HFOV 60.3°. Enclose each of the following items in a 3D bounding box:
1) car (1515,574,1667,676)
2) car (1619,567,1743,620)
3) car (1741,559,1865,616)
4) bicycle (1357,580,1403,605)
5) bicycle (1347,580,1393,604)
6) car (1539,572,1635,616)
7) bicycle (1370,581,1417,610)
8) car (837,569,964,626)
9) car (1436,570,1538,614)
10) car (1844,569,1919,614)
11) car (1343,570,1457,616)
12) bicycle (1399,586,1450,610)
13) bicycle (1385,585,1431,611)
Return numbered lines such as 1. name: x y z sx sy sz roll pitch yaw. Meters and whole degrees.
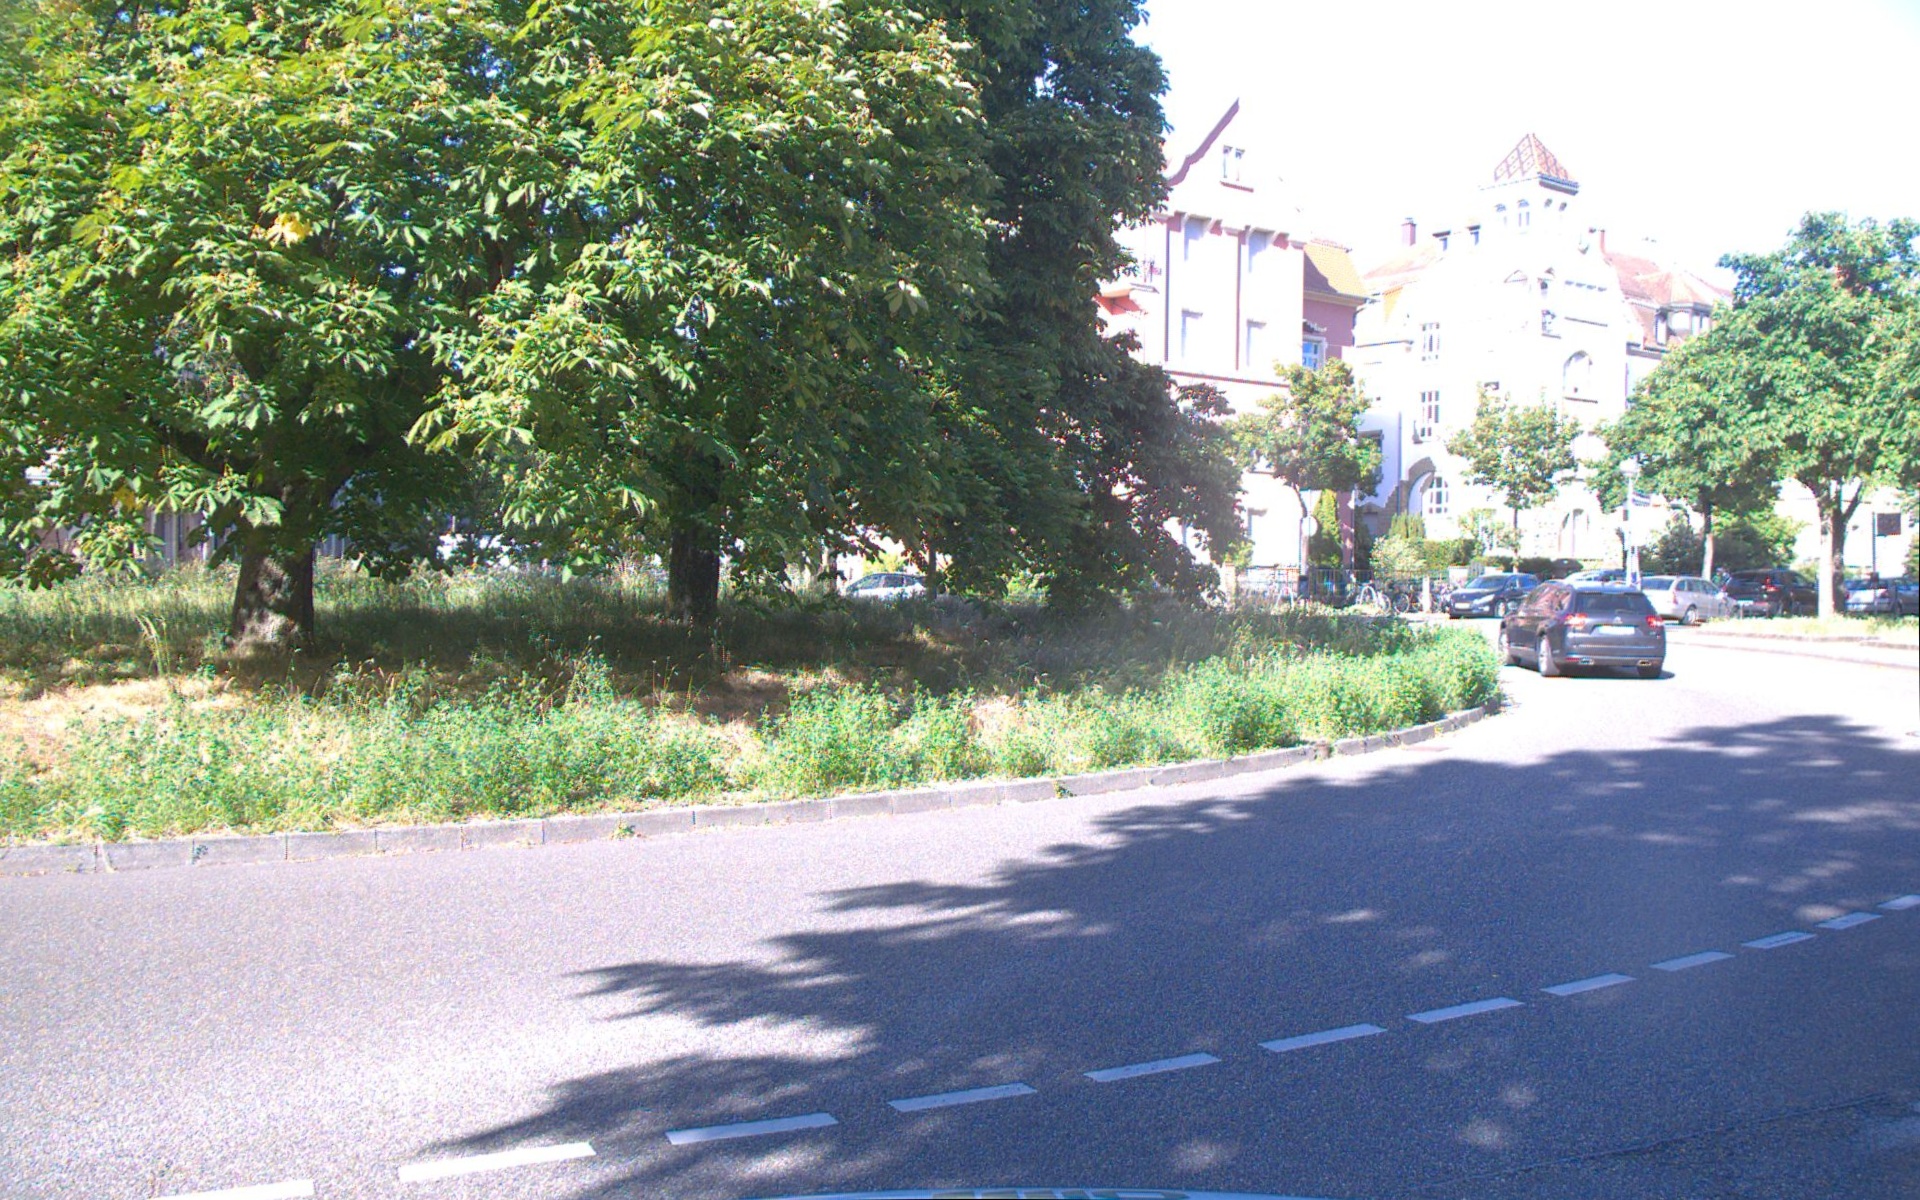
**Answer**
1. car: 10.238 0.347 27.107 1.677 1.508 4.148 0 1 12
2. car: 20.831 -0.213 47.764 3.933 1.480 1.540 -1 1 -36
3. car: 23.027 -0.362 45.164 3.696 1.480 1.540 -1 1 -36
4. bicycle: 14.441 -0.264 56.923 0.470 0.814 2.276 0 1 -16
5. bicycle: 14.036 -0.281 56.648 0.471 0.814 2.016 0 1 -21
6. car: 22.270 -0.240 58.732 3.439 1.514 1.649 0 1 -37
7. bicycle: 14.997 -0.166 57.211 0.470 0.930 2.276 0 1 -16
8. car: -1.734 -0.097 47.415 3.581 1.579 1.551 1 1 42
9. car: 17.639 -0.292 55.303 3.614 1.393 1.733 -1 1 -43
10. car: 31.382 -0.315 55.526 3.416 1.461 1.641 -1 1 -34
11. car: 13.819 -0.249 51.853 3.611 1.393 1.734 -1 1 -40
12. bicycle: 16.334 -0.069 58.253 0.614 0.799 2.276 0 1 -16
13. bicycle: 15.697 -0.080 58.002 0.470 0.837 2.276 0 1 -16
